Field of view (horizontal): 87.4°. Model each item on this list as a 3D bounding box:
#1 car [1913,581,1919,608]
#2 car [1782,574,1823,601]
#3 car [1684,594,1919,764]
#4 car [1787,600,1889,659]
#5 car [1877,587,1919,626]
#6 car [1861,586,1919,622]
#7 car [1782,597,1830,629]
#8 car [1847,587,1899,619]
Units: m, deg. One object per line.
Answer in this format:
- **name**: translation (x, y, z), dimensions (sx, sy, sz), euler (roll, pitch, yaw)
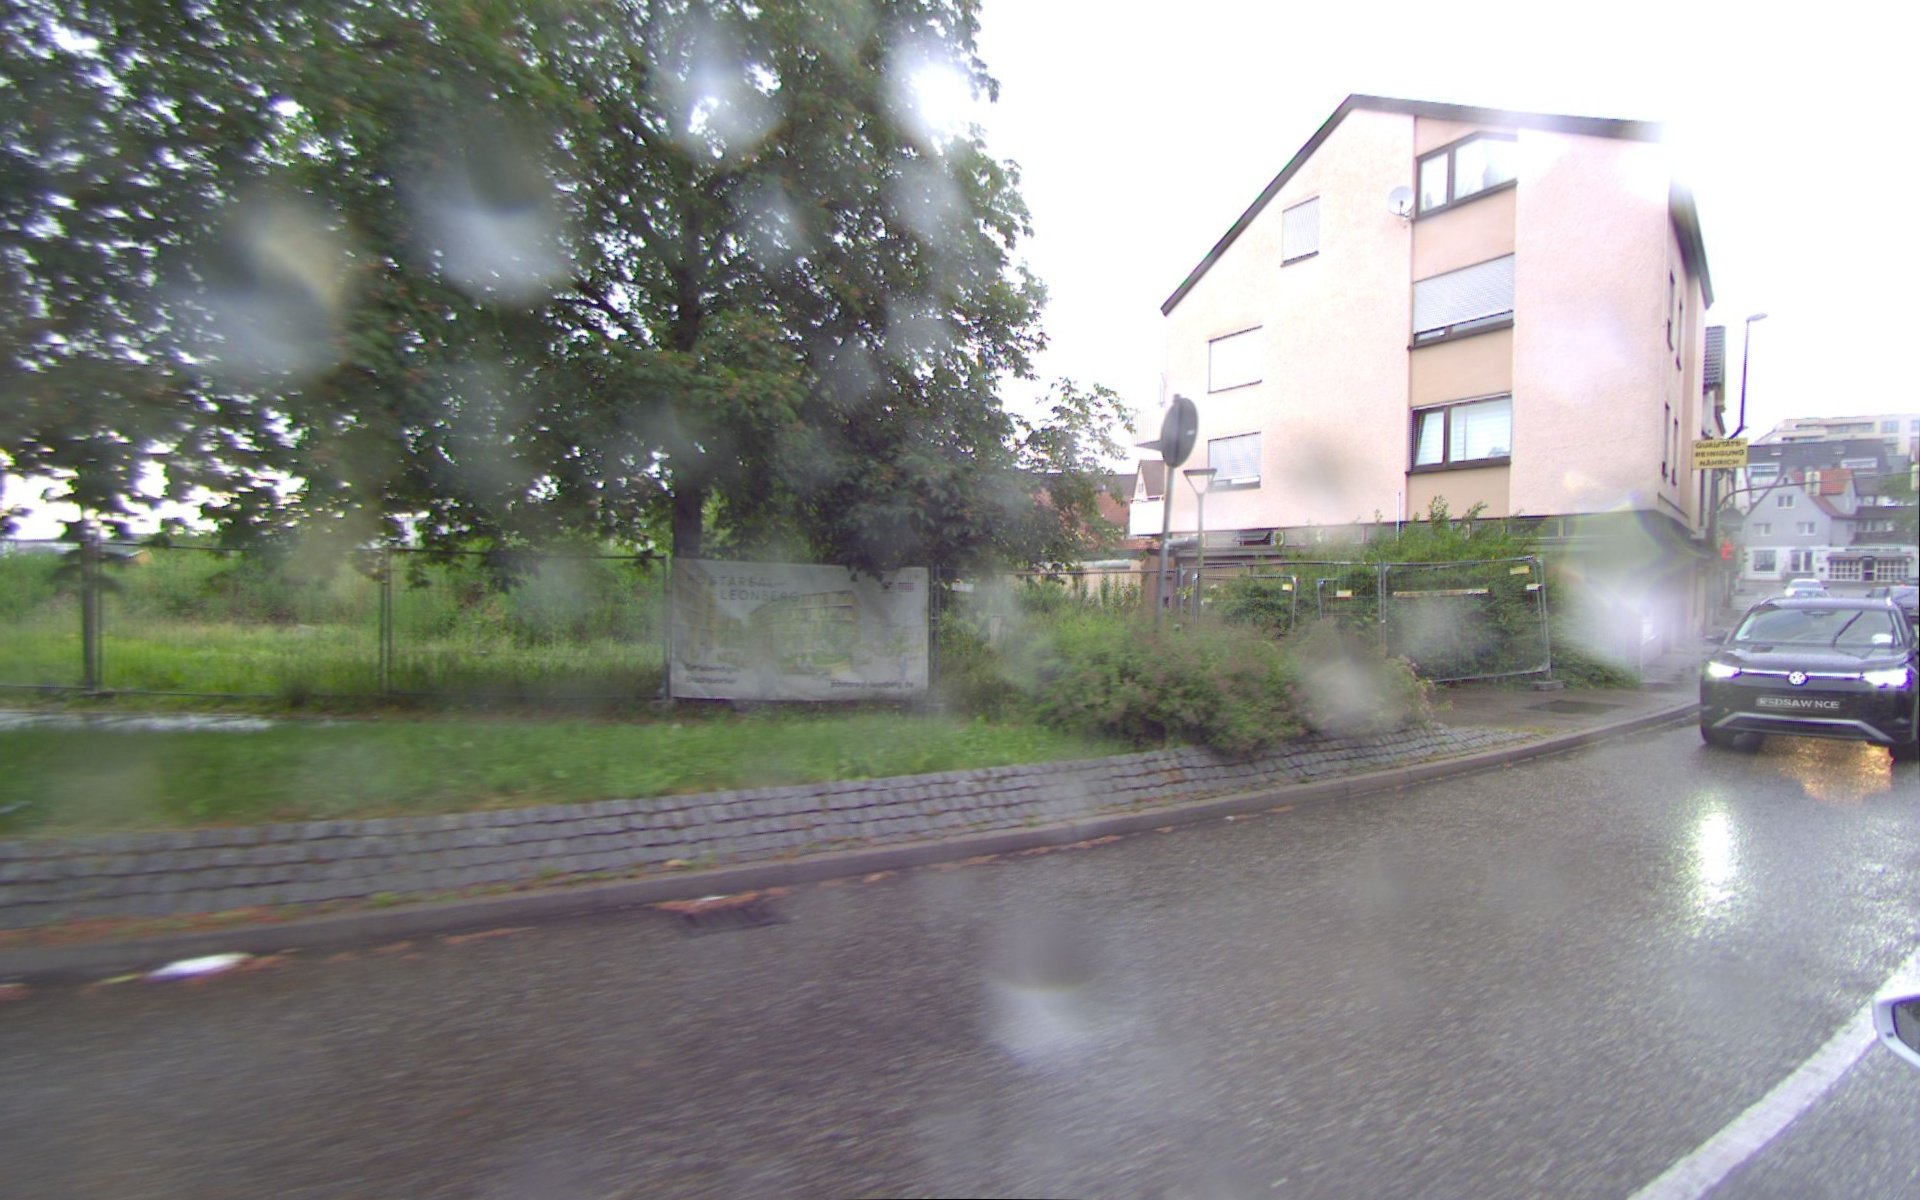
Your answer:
- **car**: translation (57.289, -0.327, 58.744), dimensions (1.869, 1.612, 3.672), euler (1, 1, 38)
- **car**: translation (51.782, -0.807, 61.779), dimensions (1.763, 1.581, 4.317), euler (1, 2, 38)
- **car**: translation (10.025, 0.787, 11.754), dimensions (1.874, 1.616, 4.327), euler (-1, -1, 45)
- **car**: translation (22.802, 0.721, 26.207), dimensions (1.748, 1.420, 3.903), euler (0, 0, 38)
- **car**: translation (42.670, 0.267, 45.124), dimensions (1.762, 1.584, 4.382), euler (3, 3, 38)
- **car**: translation (46.207, 0.164, 49.954), dimensions (1.762, 1.584, 4.382), euler (3, 3, 38)
- **car**: translation (40.057, 0.581, 47.613), dimensions (1.670, 1.391, 4.093), euler (0, 1, 39)
- **car**: translation (50.184, 0.127, 55.286), dimensions (1.762, 1.584, 4.382), euler (3, 3, 38)
